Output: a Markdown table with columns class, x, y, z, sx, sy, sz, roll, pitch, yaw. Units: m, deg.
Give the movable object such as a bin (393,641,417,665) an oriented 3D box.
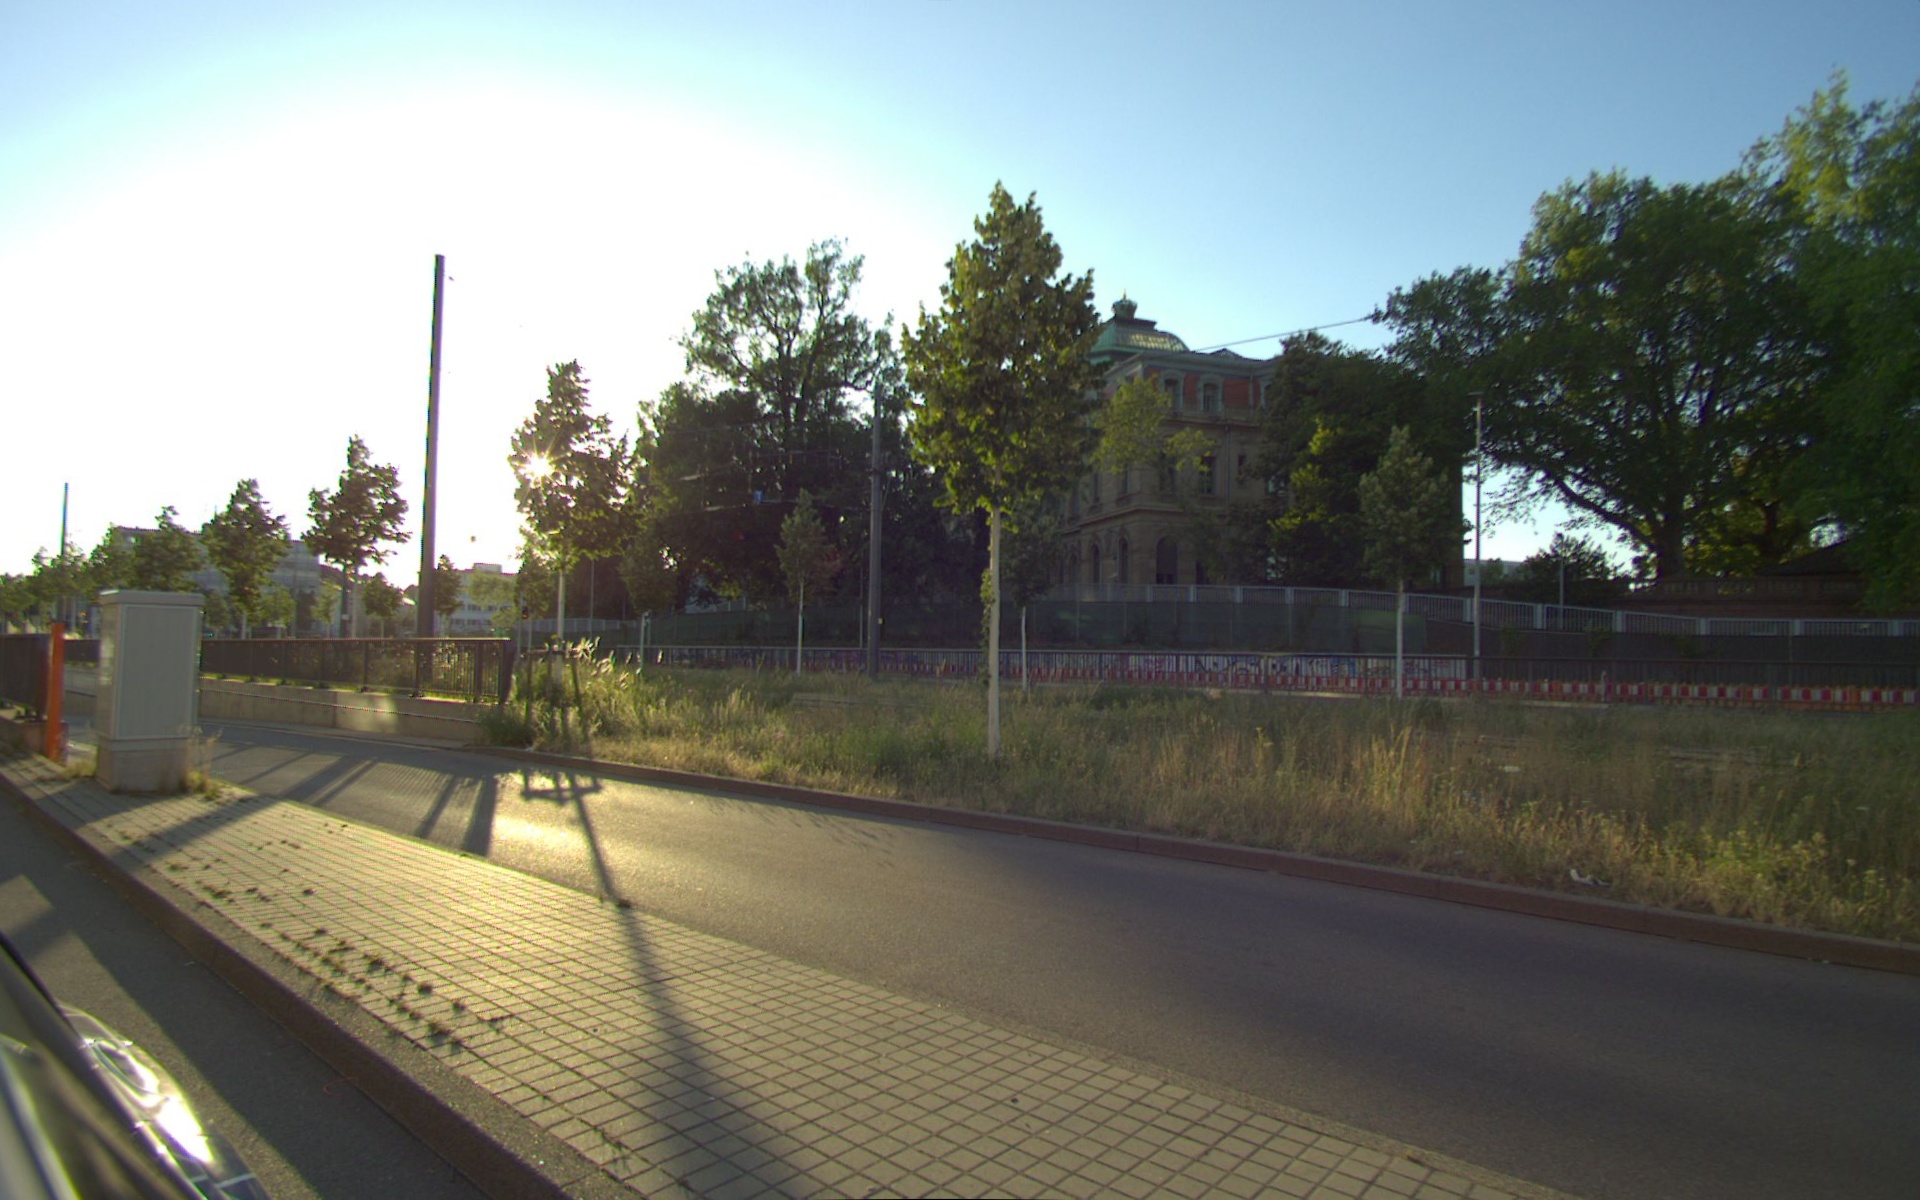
| class | x | y | z | sx | sy | sz | roll | pitch | yaw |
| --- | --- | --- | --- | --- | --- | --- | --- | --- | --- |
| movable object such as a bin | -66.208 | 6.306 | 120.753 | 1.967 | 2.727 | 4.009 | 2 | -3 | -36 |
